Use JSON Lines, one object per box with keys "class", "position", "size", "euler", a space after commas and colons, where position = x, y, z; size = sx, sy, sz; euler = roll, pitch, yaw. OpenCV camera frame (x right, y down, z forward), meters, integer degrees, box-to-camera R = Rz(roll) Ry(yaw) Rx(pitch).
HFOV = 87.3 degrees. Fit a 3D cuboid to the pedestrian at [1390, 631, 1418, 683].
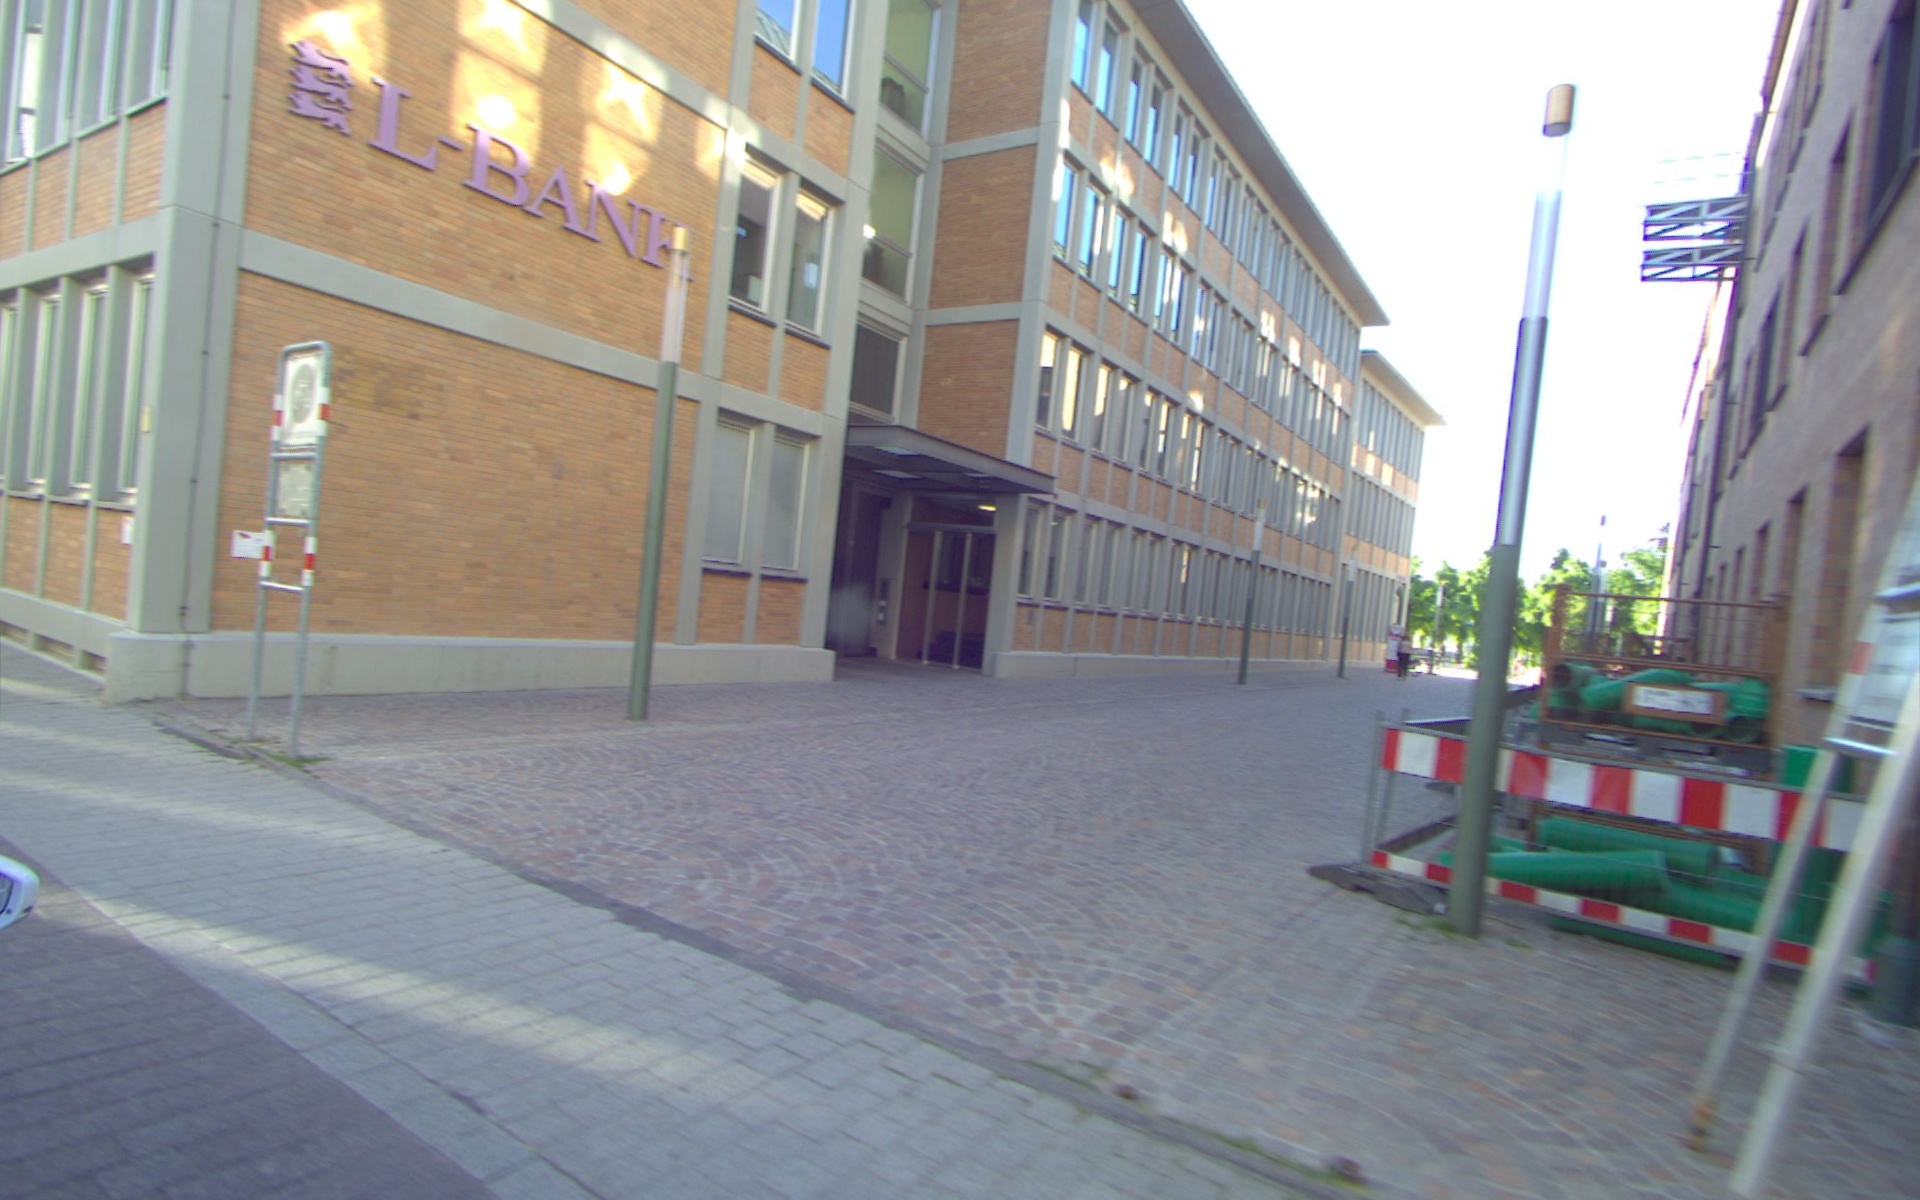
{"class": "pedestrian", "position": [16.148, 2.081, 36.565], "size": [0.628, 1.807, 0.651], "euler": [7, 0, 33]}
